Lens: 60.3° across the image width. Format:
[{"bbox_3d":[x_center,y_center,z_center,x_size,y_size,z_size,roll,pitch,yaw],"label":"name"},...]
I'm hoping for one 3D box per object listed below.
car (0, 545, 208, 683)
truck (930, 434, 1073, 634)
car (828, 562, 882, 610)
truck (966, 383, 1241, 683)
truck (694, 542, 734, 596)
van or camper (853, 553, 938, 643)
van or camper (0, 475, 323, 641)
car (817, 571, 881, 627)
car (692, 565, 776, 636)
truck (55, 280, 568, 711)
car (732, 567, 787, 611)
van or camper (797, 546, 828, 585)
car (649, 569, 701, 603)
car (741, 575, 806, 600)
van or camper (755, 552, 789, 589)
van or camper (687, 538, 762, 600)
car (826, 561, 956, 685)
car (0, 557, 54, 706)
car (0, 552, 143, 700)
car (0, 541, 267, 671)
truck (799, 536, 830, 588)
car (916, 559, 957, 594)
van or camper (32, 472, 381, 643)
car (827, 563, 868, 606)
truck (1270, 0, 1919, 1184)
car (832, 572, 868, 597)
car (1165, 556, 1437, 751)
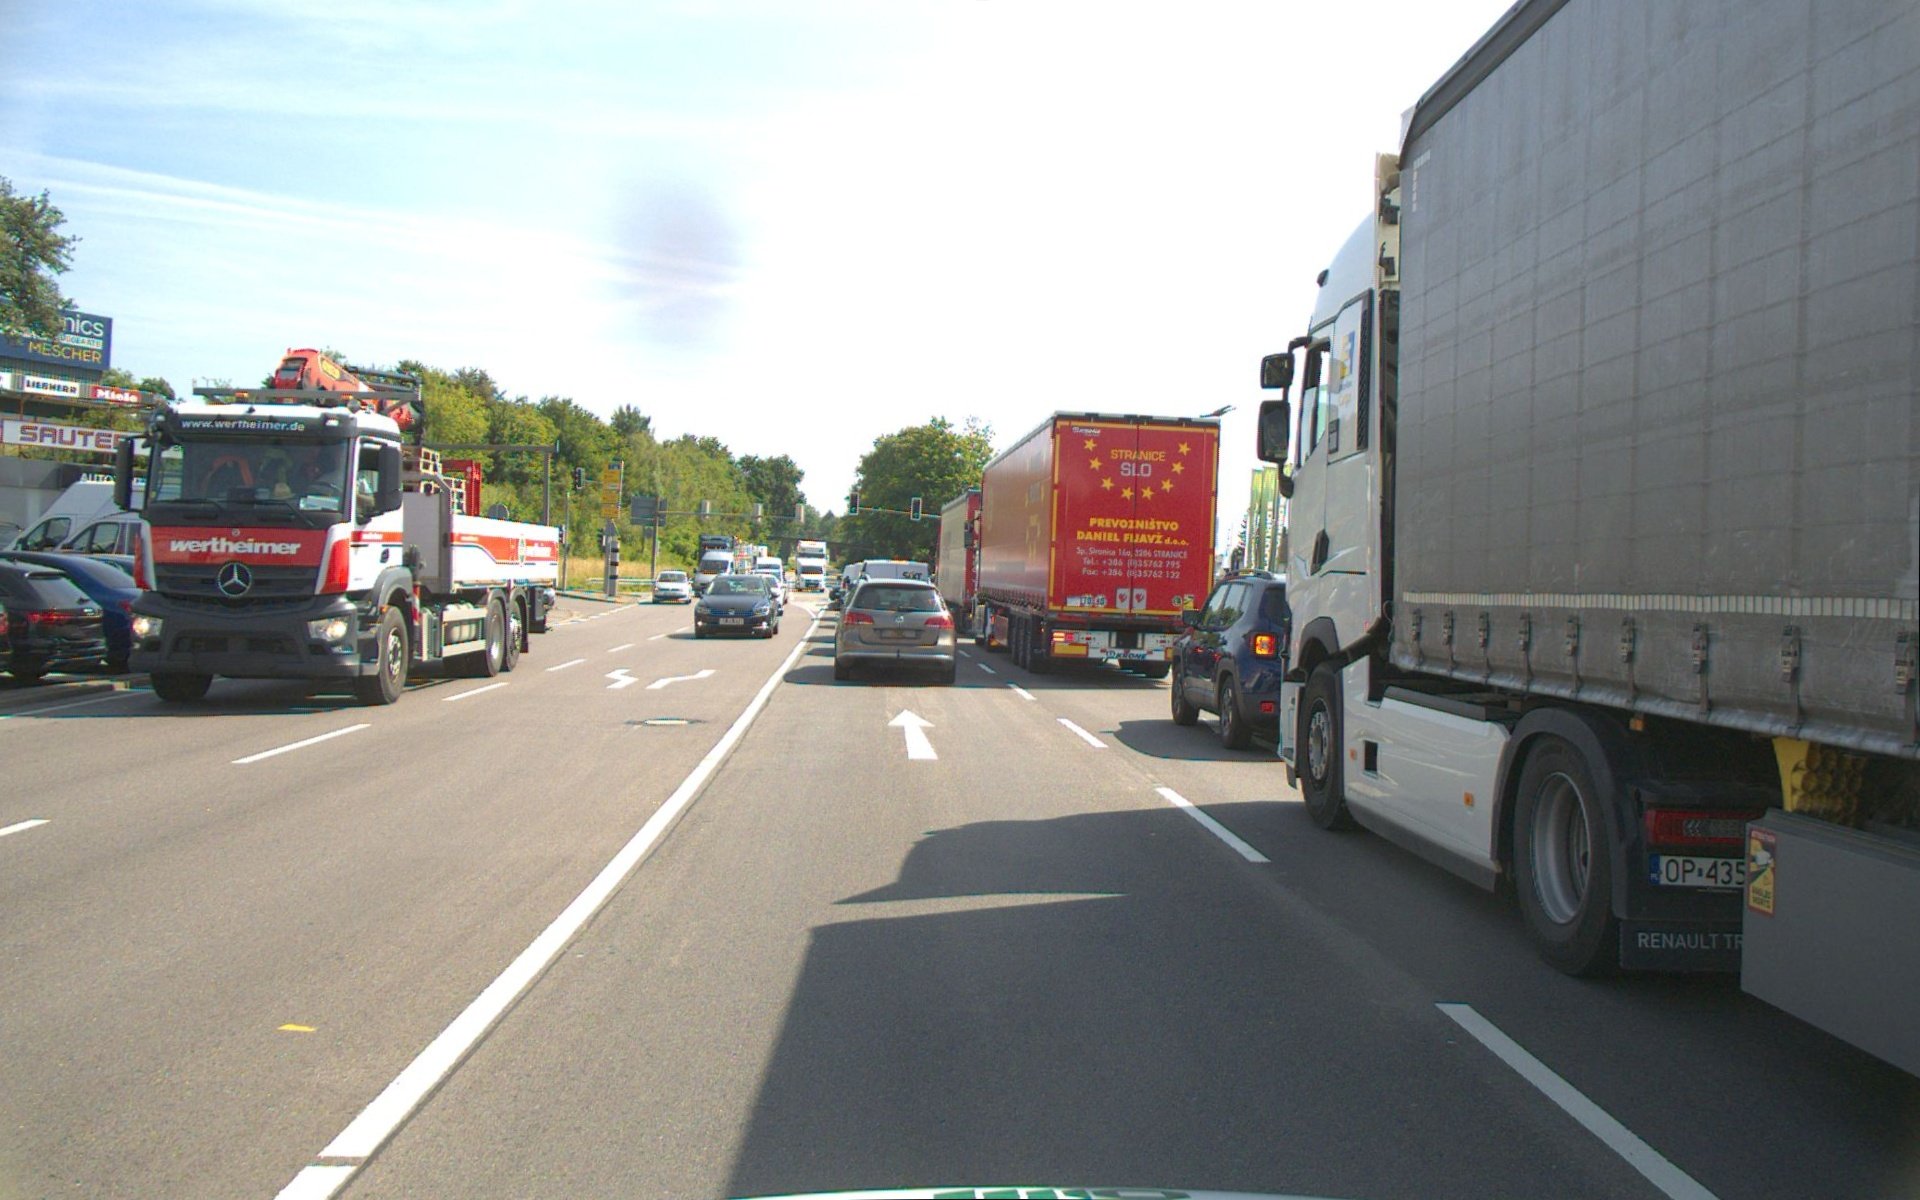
[{"bbox_3d":[-12.097,0.131,21.690,3.636,1.582,1.706,3,2,-5],"label":"car"},{"bbox_3d":[0.971,-1.933,53.335,3.002,5.311,16.996,2,1,-4],"label":"truck"},{"bbox_3d":[-3.572,-0.462,56.803,1.692,1.545,3.311,2,0,-2],"label":"car"},{"bbox_3d":[2.167,-1.121,32.789,2.898,4.344,16.573,2,1,-4],"label":"truck"},{"bbox_3d":[-17.922,-2.254,120.902,2.759,3.852,6.979,0,1,-7],"label":"truck"},{"bbox_3d":[-1.566,-0.075,38.720,1.816,1.939,3.782,2,1,-4],"label":"van or camper"},{"bbox_3d":[-15.647,-0.816,31.902,5.775,2.923,2.288,2,1,-4],"label":"van or camper"},{"bbox_3d":[-3.237,-0.025,48.695,1.692,1.545,3.311,2,0,-2],"label":"car"},{"bbox_3d":[-5.383,-0.022,39.817,1.771,1.587,4.383,1,1,-5],"label":"car"},{"bbox_3d":[-7.725,-1.130,21.841,2.897,4.282,10.643,0,1,-2],"label":"truck"},{"bbox_3d":[-7.428,-0.439,61.597,1.872,1.547,4.776,1,1,-5],"label":"car"},{"bbox_3d":[-11.606,-2.683,130.245,2.180,2.890,5.706,2,0,-4],"label":"van or camper"},{"bbox_3d":[-12.915,-0.659,75.119,1.800,1.473,4.079,1,1,-2],"label":"car"},{"bbox_3d":[-11.523,-0.784,102.265,1.684,1.473,4.064,2,1,37],"label":"car"},{"bbox_3d":[-13.677,-2.147,120.505,2.130,2.595,4.167,2,1,-4],"label":"van or camper"},{"bbox_3d":[-12.891,-1.677,91.033,2.160,3.109,5.907,3,0,10],"label":"van or camper"},{"bbox_3d":[-0.948,0.299,24.404,1.753,1.667,3.503,1,0,0],"label":"car"},{"bbox_3d":[-12.041,0.142,16.944,4.373,1.510,1.770,5,0,-5],"label":"car"},{"bbox_3d":[-11.815,0.168,19.069,3.771,1.510,1.800,5,0,-5],"label":"car"},{"bbox_3d":[-12.368,0.065,24.189,3.637,1.510,1.706,5,0,-5],"label":"car"},{"bbox_3d":[-12.693,-3.328,144.886,2.502,4.382,7.590,0,1,-4],"label":"truck"},{"bbox_3d":[-1.106,-1.077,77.782,1.693,1.545,3.309,2,0,-4],"label":"car"},{"bbox_3d":[-13.331,-0.744,29.540,5.140,2.779,2.209,2,1,-2],"label":"van or camper"},{"bbox_3d":[-5.377,-0.742,79.357,1.691,1.942,3.312,2,0,0],"label":"car"},{"bbox_3d":[3.815,-0.704,3.439,2.831,4.340,16.707,1,1,-1],"label":"truck"},{"bbox_3d":[-6.453,-0.945,97.533,1.631,1.434,3.928,0,1,3],"label":"car"},{"bbox_3d":[3.279,0.445,16.689,1.782,1.714,3.999,1,1,-2],"label":"car"}]
